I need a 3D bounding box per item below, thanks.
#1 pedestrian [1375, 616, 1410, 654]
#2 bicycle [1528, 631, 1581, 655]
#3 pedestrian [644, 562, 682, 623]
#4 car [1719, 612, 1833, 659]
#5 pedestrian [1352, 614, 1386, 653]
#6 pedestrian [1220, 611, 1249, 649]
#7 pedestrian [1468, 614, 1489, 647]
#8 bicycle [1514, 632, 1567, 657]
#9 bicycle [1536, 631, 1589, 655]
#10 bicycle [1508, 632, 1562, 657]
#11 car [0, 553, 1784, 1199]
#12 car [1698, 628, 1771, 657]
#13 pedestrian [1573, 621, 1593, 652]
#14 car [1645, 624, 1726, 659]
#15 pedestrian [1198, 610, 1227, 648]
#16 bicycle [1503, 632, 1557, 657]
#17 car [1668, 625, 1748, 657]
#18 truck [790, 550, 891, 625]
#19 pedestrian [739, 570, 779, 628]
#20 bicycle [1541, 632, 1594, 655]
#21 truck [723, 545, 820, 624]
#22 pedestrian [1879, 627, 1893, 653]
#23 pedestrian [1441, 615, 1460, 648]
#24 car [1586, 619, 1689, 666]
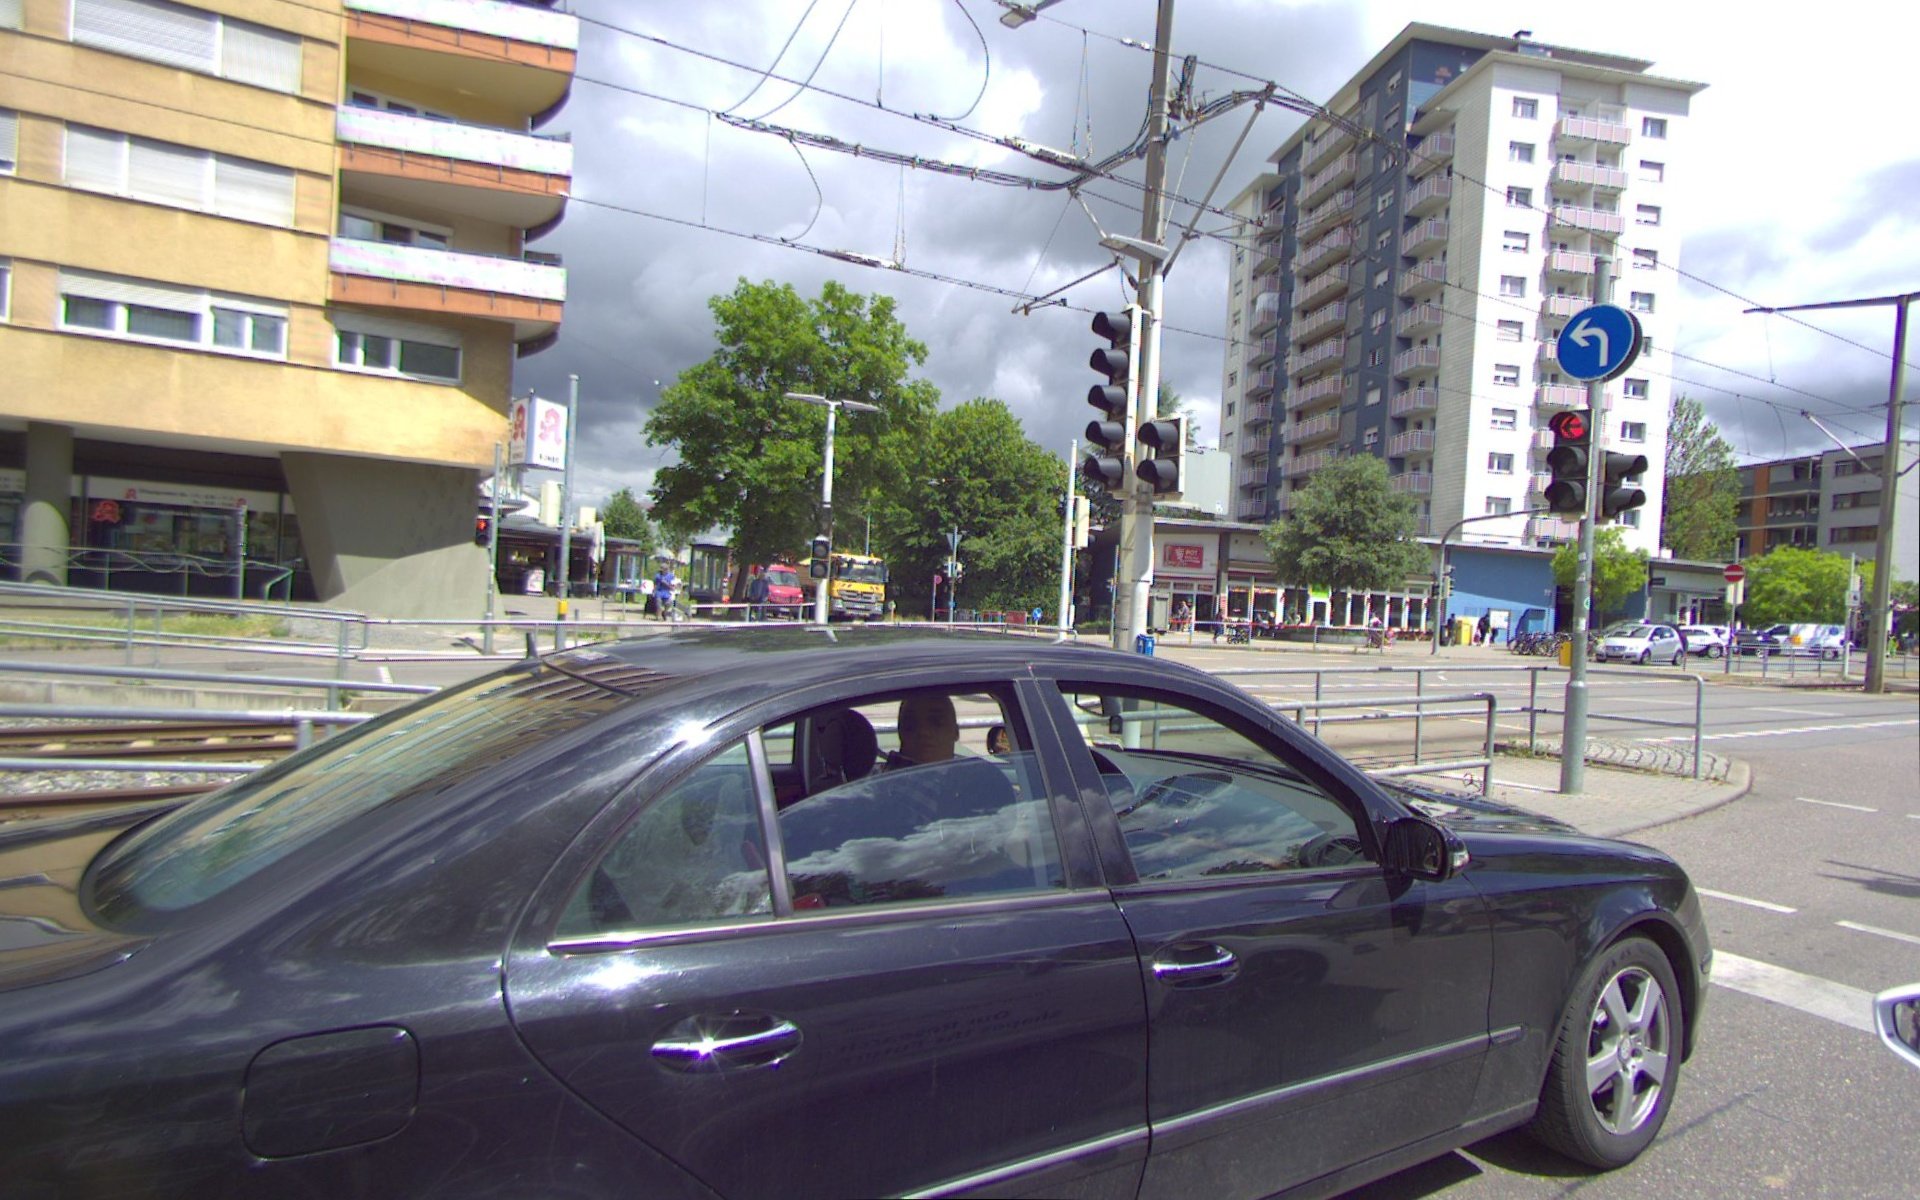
[{"bbox_3d":[19.691,1.575,45.751,1.080,1.681,0.945,2,-1,-12],"label":"pedestrian"},{"bbox_3d":[25.670,1.860,43.419,0.490,0.947,1.933,2,0,-35],"label":"bicycle"},{"bbox_3d":[-8.236,-0.224,27.818,0.759,1.638,0.771,-2,5,-39],"label":"pedestrian"},{"bbox_3d":[47.489,1.987,58.728,2.776,2.511,6.724,2,0,17],"label":"car"},{"bbox_3d":[18.506,1.507,45.470,1.080,1.681,0.945,2,-1,-12],"label":"pedestrian"},{"bbox_3d":[12.365,1.332,45.239,0.977,1.681,0.969,2,-1,-4],"label":"pedestrian"},{"bbox_3d":[26.781,1.561,51.867,0.693,1.637,0.760,1,0,-43],"label":"pedestrian"},{"bbox_3d":[24.778,1.891,42.905,0.490,0.947,1.933,2,0,-35],"label":"bicycle"},{"bbox_3d":[26.152,1.877,43.636,0.490,0.947,1.933,2,0,-35],"label":"bicycle"},{"bbox_3d":[24.368,1.876,42.615,0.490,0.947,1.933,2,0,-35],"label":"bicycle"},{"bbox_3d":[0.137,0.728,2.676,4.491,1.481,1.720,2,0,-30],"label":"car"},{"bbox_3d":[43.142,2.344,56.063,1.754,1.439,4.219,2,0,15],"label":"car"},{"bbox_3d":[33.566,1.951,54.103,0.694,1.637,0.759,1,0,-45],"label":"pedestrian"},{"bbox_3d":[37.861,2.127,52.576,1.921,1.591,4.220,2,0,13],"label":"car"},{"bbox_3d":[11.291,1.297,45.003,0.977,1.681,0.969,2,-1,-4],"label":"pedestrian"},{"bbox_3d":[23.998,1.863,42.337,0.490,0.947,1.933,2,0,-35],"label":"bicycle"},{"bbox_3d":[40.511,2.182,54.536,1.921,1.558,4.220,2,0,13],"label":"car"},{"bbox_3d":[-5.863,-0.570,47.955,2.733,3.244,7.442,2,0,-23],"label":"truck"},{"bbox_3d":[-6.009,-0.031,30.015,0.750,1.636,0.780,7,1,11],"label":"pedestrian"},{"bbox_3d":[26.549,1.892,43.927,0.490,0.947,1.933,2,0,-35],"label":"bicycle"},{"bbox_3d":[-9.108,-0.687,47.522,2.692,3.320,8.876,2,0,-23],"label":"truck"},{"bbox_3d":[62.081,2.690,67.324,0.663,1.739,0.542,1,0,-40],"label":"pedestrian"},{"bbox_3d":[24.787,1.595,50.751,0.757,1.637,0.696,2,0,35],"label":"pedestrian"},{"bbox_3d":[26.882,1.670,39.849,3.827,1.715,1.928,2,0,-30],"label":"car"}]
